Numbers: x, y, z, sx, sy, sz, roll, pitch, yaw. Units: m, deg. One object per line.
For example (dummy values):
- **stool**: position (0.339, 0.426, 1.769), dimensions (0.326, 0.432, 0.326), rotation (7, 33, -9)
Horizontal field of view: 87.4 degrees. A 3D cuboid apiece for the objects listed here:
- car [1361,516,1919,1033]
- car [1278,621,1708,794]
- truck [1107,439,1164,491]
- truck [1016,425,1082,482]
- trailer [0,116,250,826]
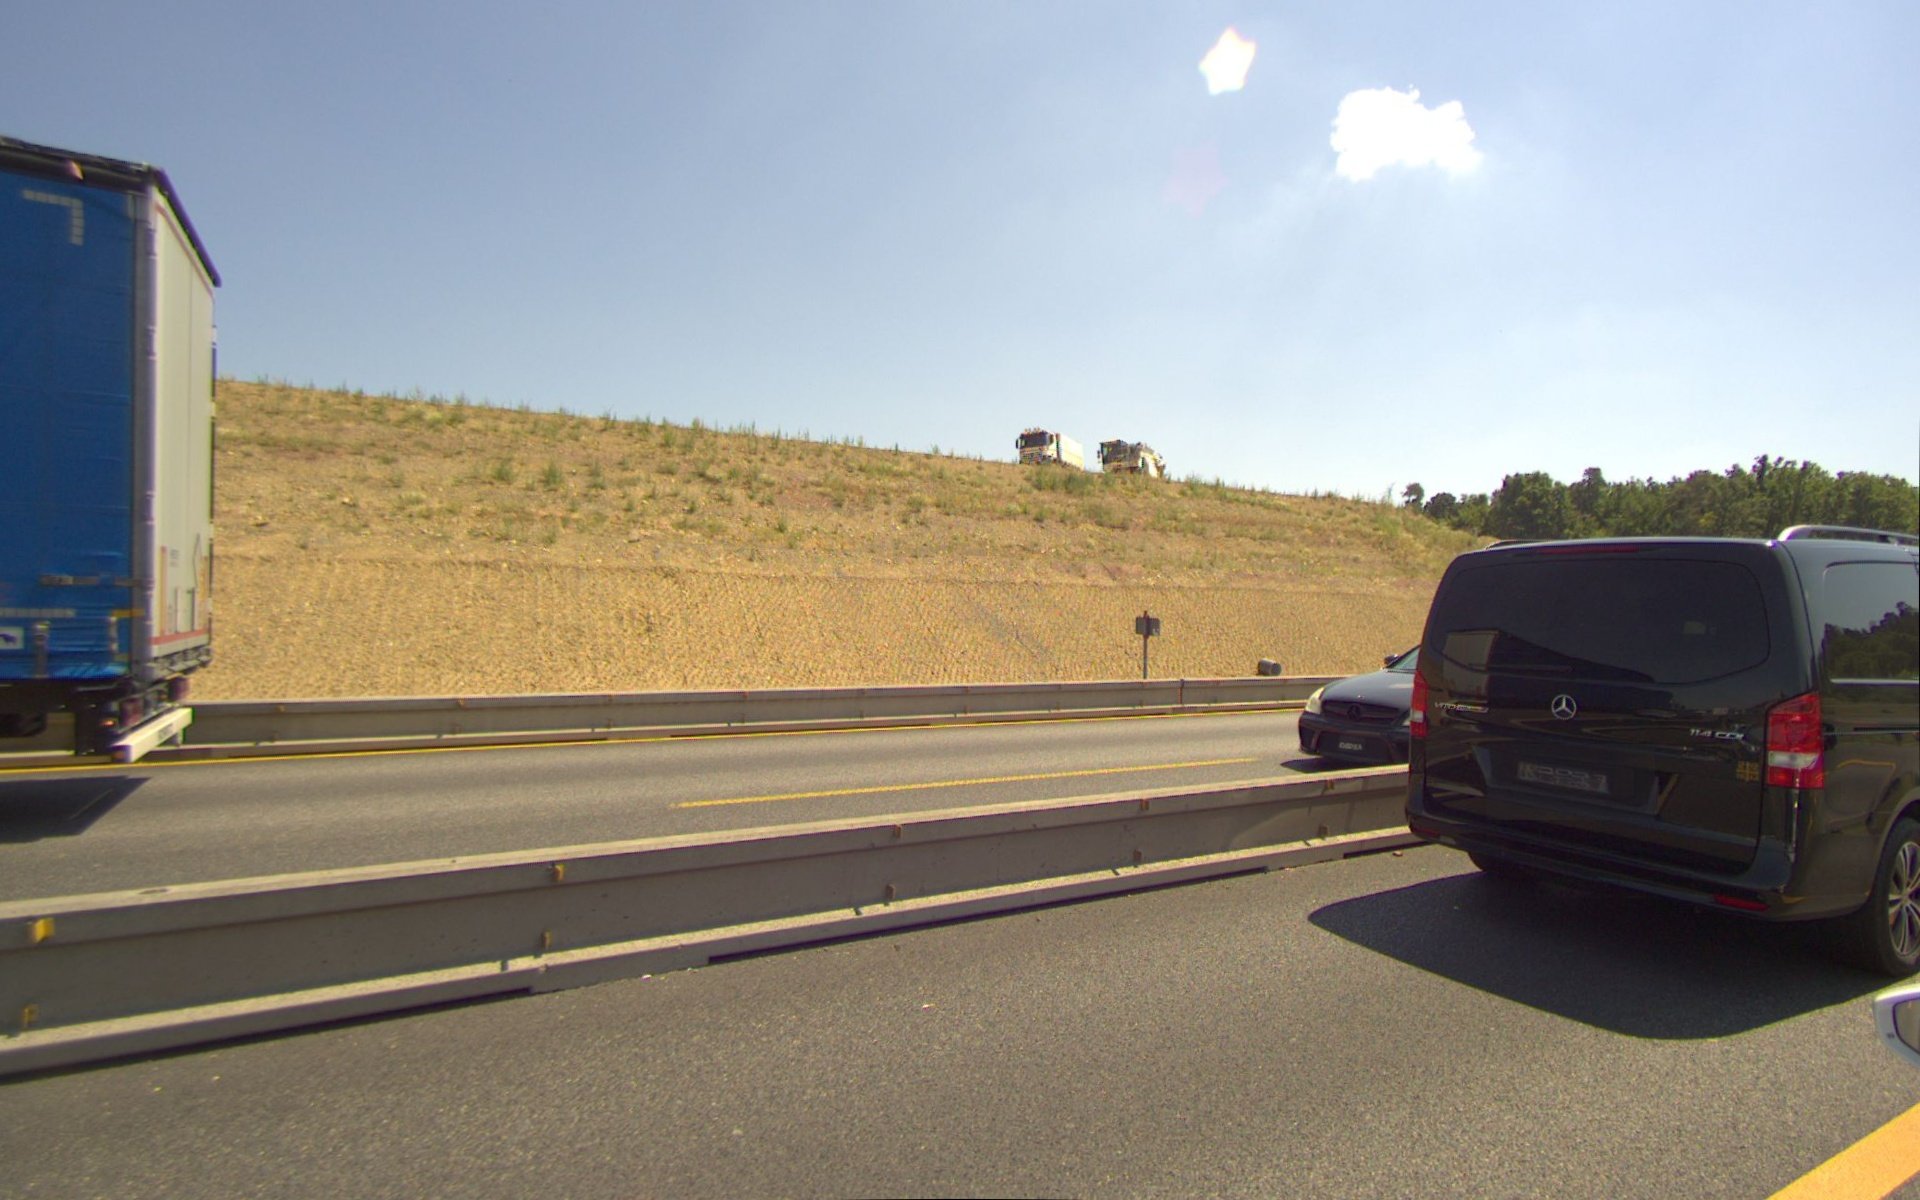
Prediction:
- **car**: position (4.918, 0.693, 5.831), dimensions (5.414, 1.876, 1.865), rotation (2, 0, -30)
- **car**: position (5.667, 1.019, 10.476), dimensions (4.805, 1.405, 1.720), rotation (3, 0, -31)
- **truck**: position (14.036, -10.607, 79.702), dimensions (2.259, 2.785, 8.901), rotation (2, 0, 24)
- **truck**: position (6.881, -10.995, 76.252), dimensions (2.317, 2.937, 8.362), rotation (2, 0, 24)
- **trailer**: position (-11.280, -0.892, 3.716), dimensions (13.832, 3.991, 2.640), rotation (2, 0, -31)
